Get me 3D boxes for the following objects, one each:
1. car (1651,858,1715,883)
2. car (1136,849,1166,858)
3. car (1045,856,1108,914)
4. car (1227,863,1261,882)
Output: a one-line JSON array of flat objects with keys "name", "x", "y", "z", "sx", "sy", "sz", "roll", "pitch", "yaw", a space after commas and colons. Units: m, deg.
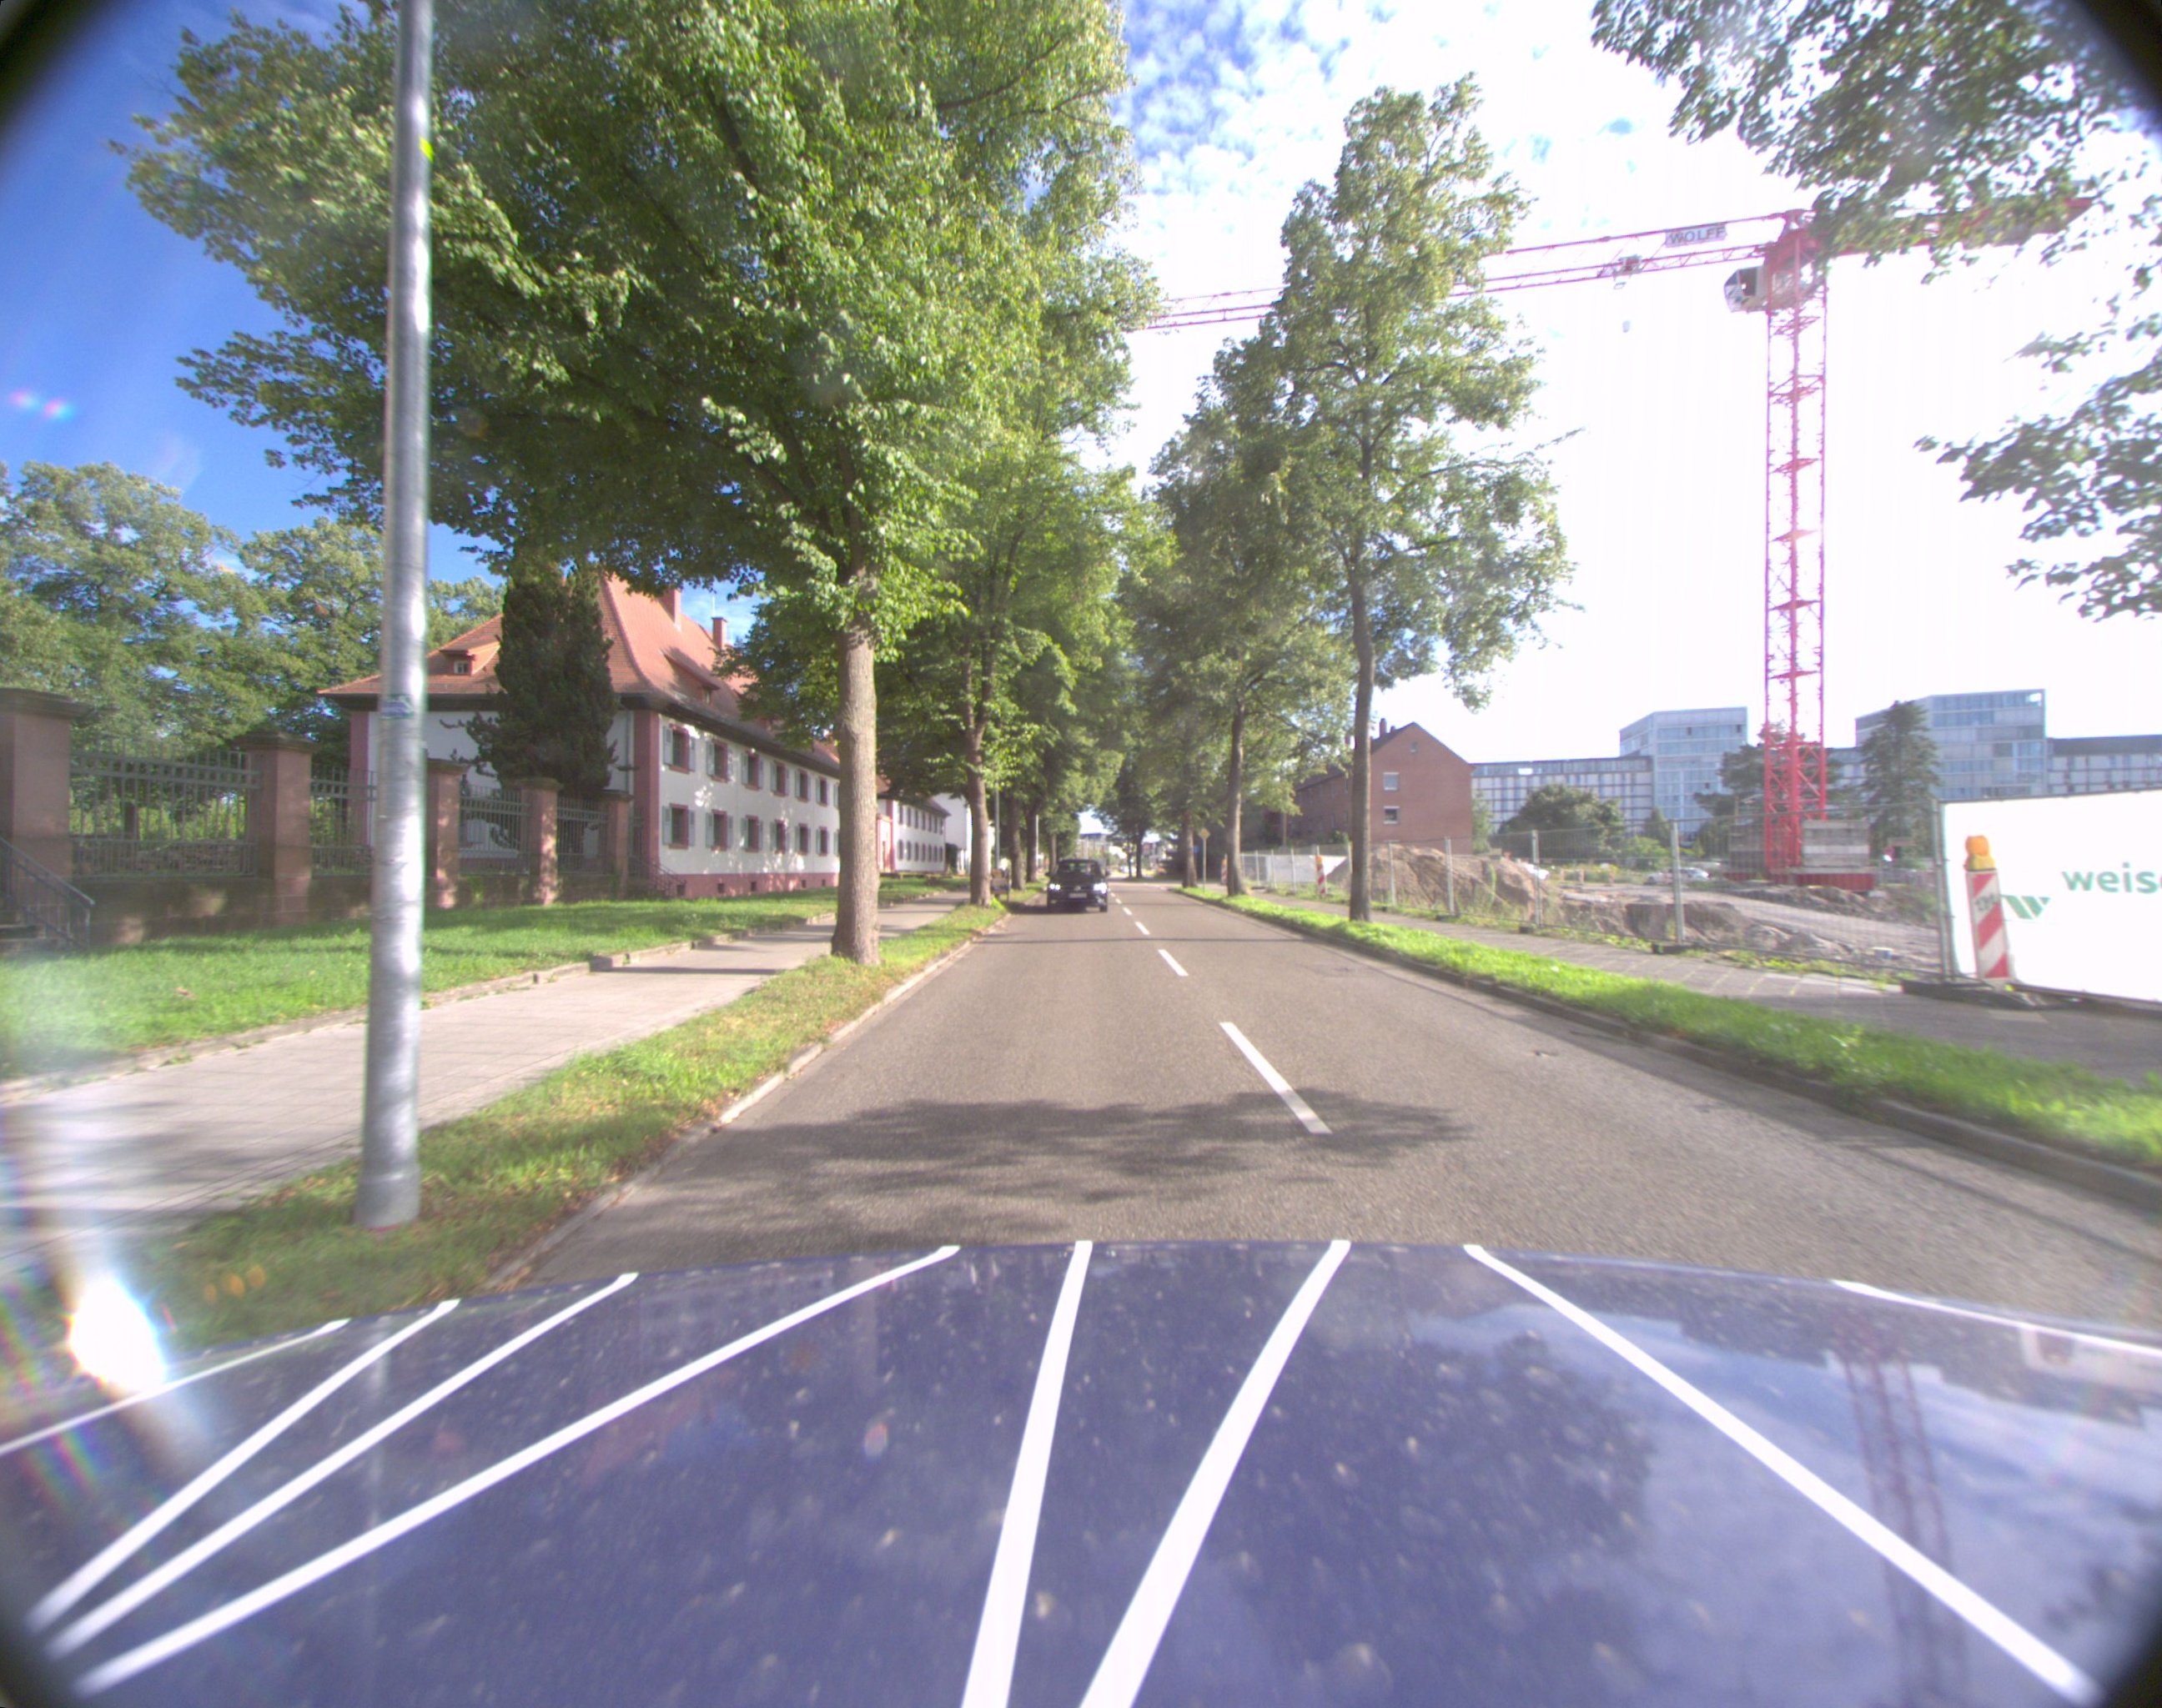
[{"name": "car", "x": 48.065, "y": 1.303, "z": 60.783, "sx": 1.817, "sy": 1.797, "sz": 3.982, "roll": -1, "pitch": 1, "yaw": -5}, {"name": "car", "x": 14.891, "y": -0.138, "z": 162.372, "sx": 2.483, "sy": 1.856, "sz": 6.235, "roll": -1, "pitch": 0, "yaw": -43}, {"name": "car", "x": -0.072, "y": 0.950, "z": 24.332, "sx": 1.821, "sy": 1.648, "sz": 4.244, "roll": -1, "pitch": -1, "yaw": 2}, {"name": "car", "x": 13.492, "y": 1.494, "z": 63.244, "sx": 1.998, "sy": 1.420, "sz": 4.508, "roll": 1, "pitch": 1, "yaw": 2}]
